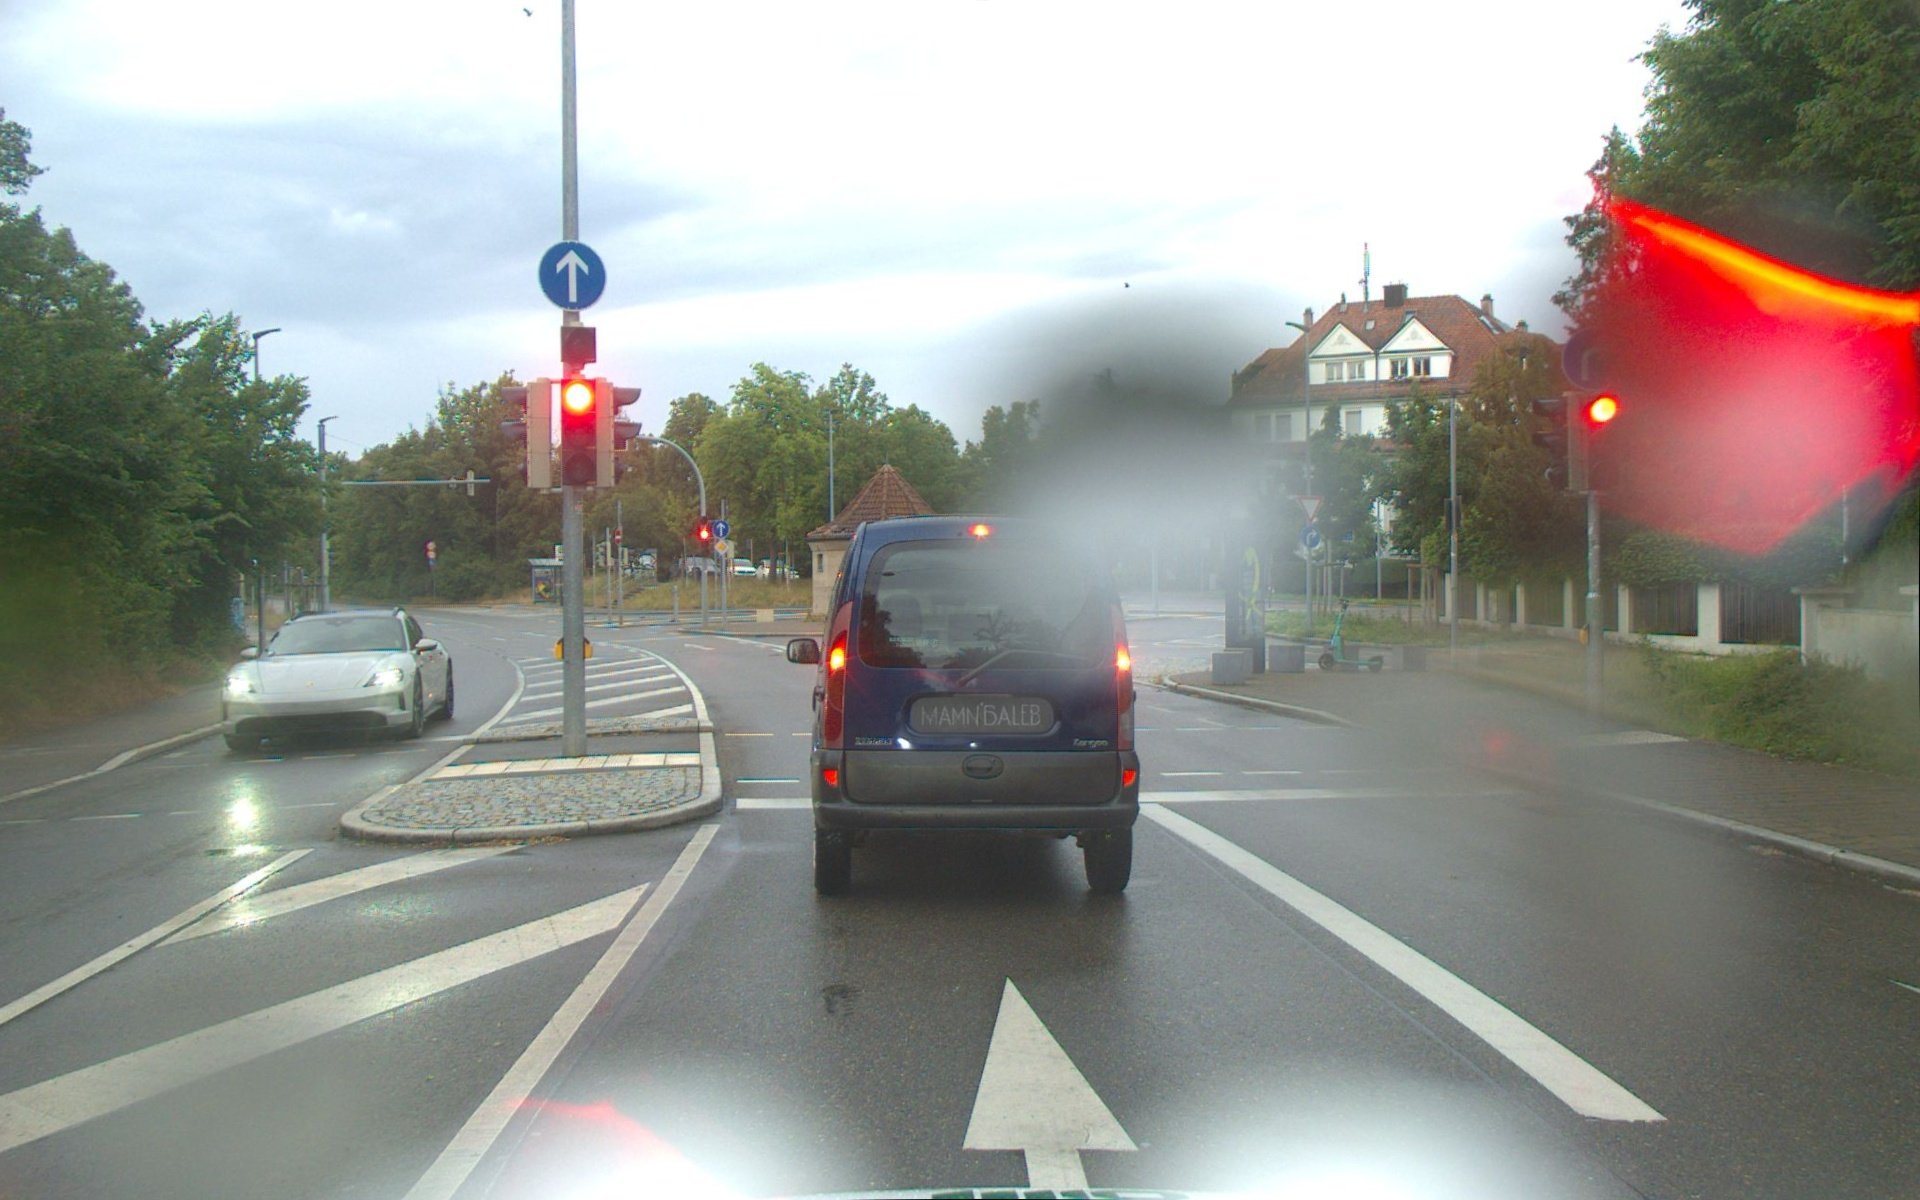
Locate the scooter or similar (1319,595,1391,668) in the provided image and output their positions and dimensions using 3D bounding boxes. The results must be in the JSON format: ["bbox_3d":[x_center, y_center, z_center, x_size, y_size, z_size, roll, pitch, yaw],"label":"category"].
[{"bbox_3d":[6.792,0.536,28.465,1.125,1.240,0.405,0,-1,-2],"label":"scooter or similar"}]

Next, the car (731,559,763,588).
[{"bbox_3d":[-14.185,-1.755,110.222,1.955,1.844,3.995,0,0,-5],"label":"car"}]

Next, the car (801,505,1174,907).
[{"bbox_3d":[0.037,0.458,9.522,1.697,1.817,3.998,0,1,-3],"label":"car"}]

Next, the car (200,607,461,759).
[{"bbox_3d":[-6.958,0.838,18.769,1.958,1.334,4.348,-3,1,-11],"label":"car"}]
